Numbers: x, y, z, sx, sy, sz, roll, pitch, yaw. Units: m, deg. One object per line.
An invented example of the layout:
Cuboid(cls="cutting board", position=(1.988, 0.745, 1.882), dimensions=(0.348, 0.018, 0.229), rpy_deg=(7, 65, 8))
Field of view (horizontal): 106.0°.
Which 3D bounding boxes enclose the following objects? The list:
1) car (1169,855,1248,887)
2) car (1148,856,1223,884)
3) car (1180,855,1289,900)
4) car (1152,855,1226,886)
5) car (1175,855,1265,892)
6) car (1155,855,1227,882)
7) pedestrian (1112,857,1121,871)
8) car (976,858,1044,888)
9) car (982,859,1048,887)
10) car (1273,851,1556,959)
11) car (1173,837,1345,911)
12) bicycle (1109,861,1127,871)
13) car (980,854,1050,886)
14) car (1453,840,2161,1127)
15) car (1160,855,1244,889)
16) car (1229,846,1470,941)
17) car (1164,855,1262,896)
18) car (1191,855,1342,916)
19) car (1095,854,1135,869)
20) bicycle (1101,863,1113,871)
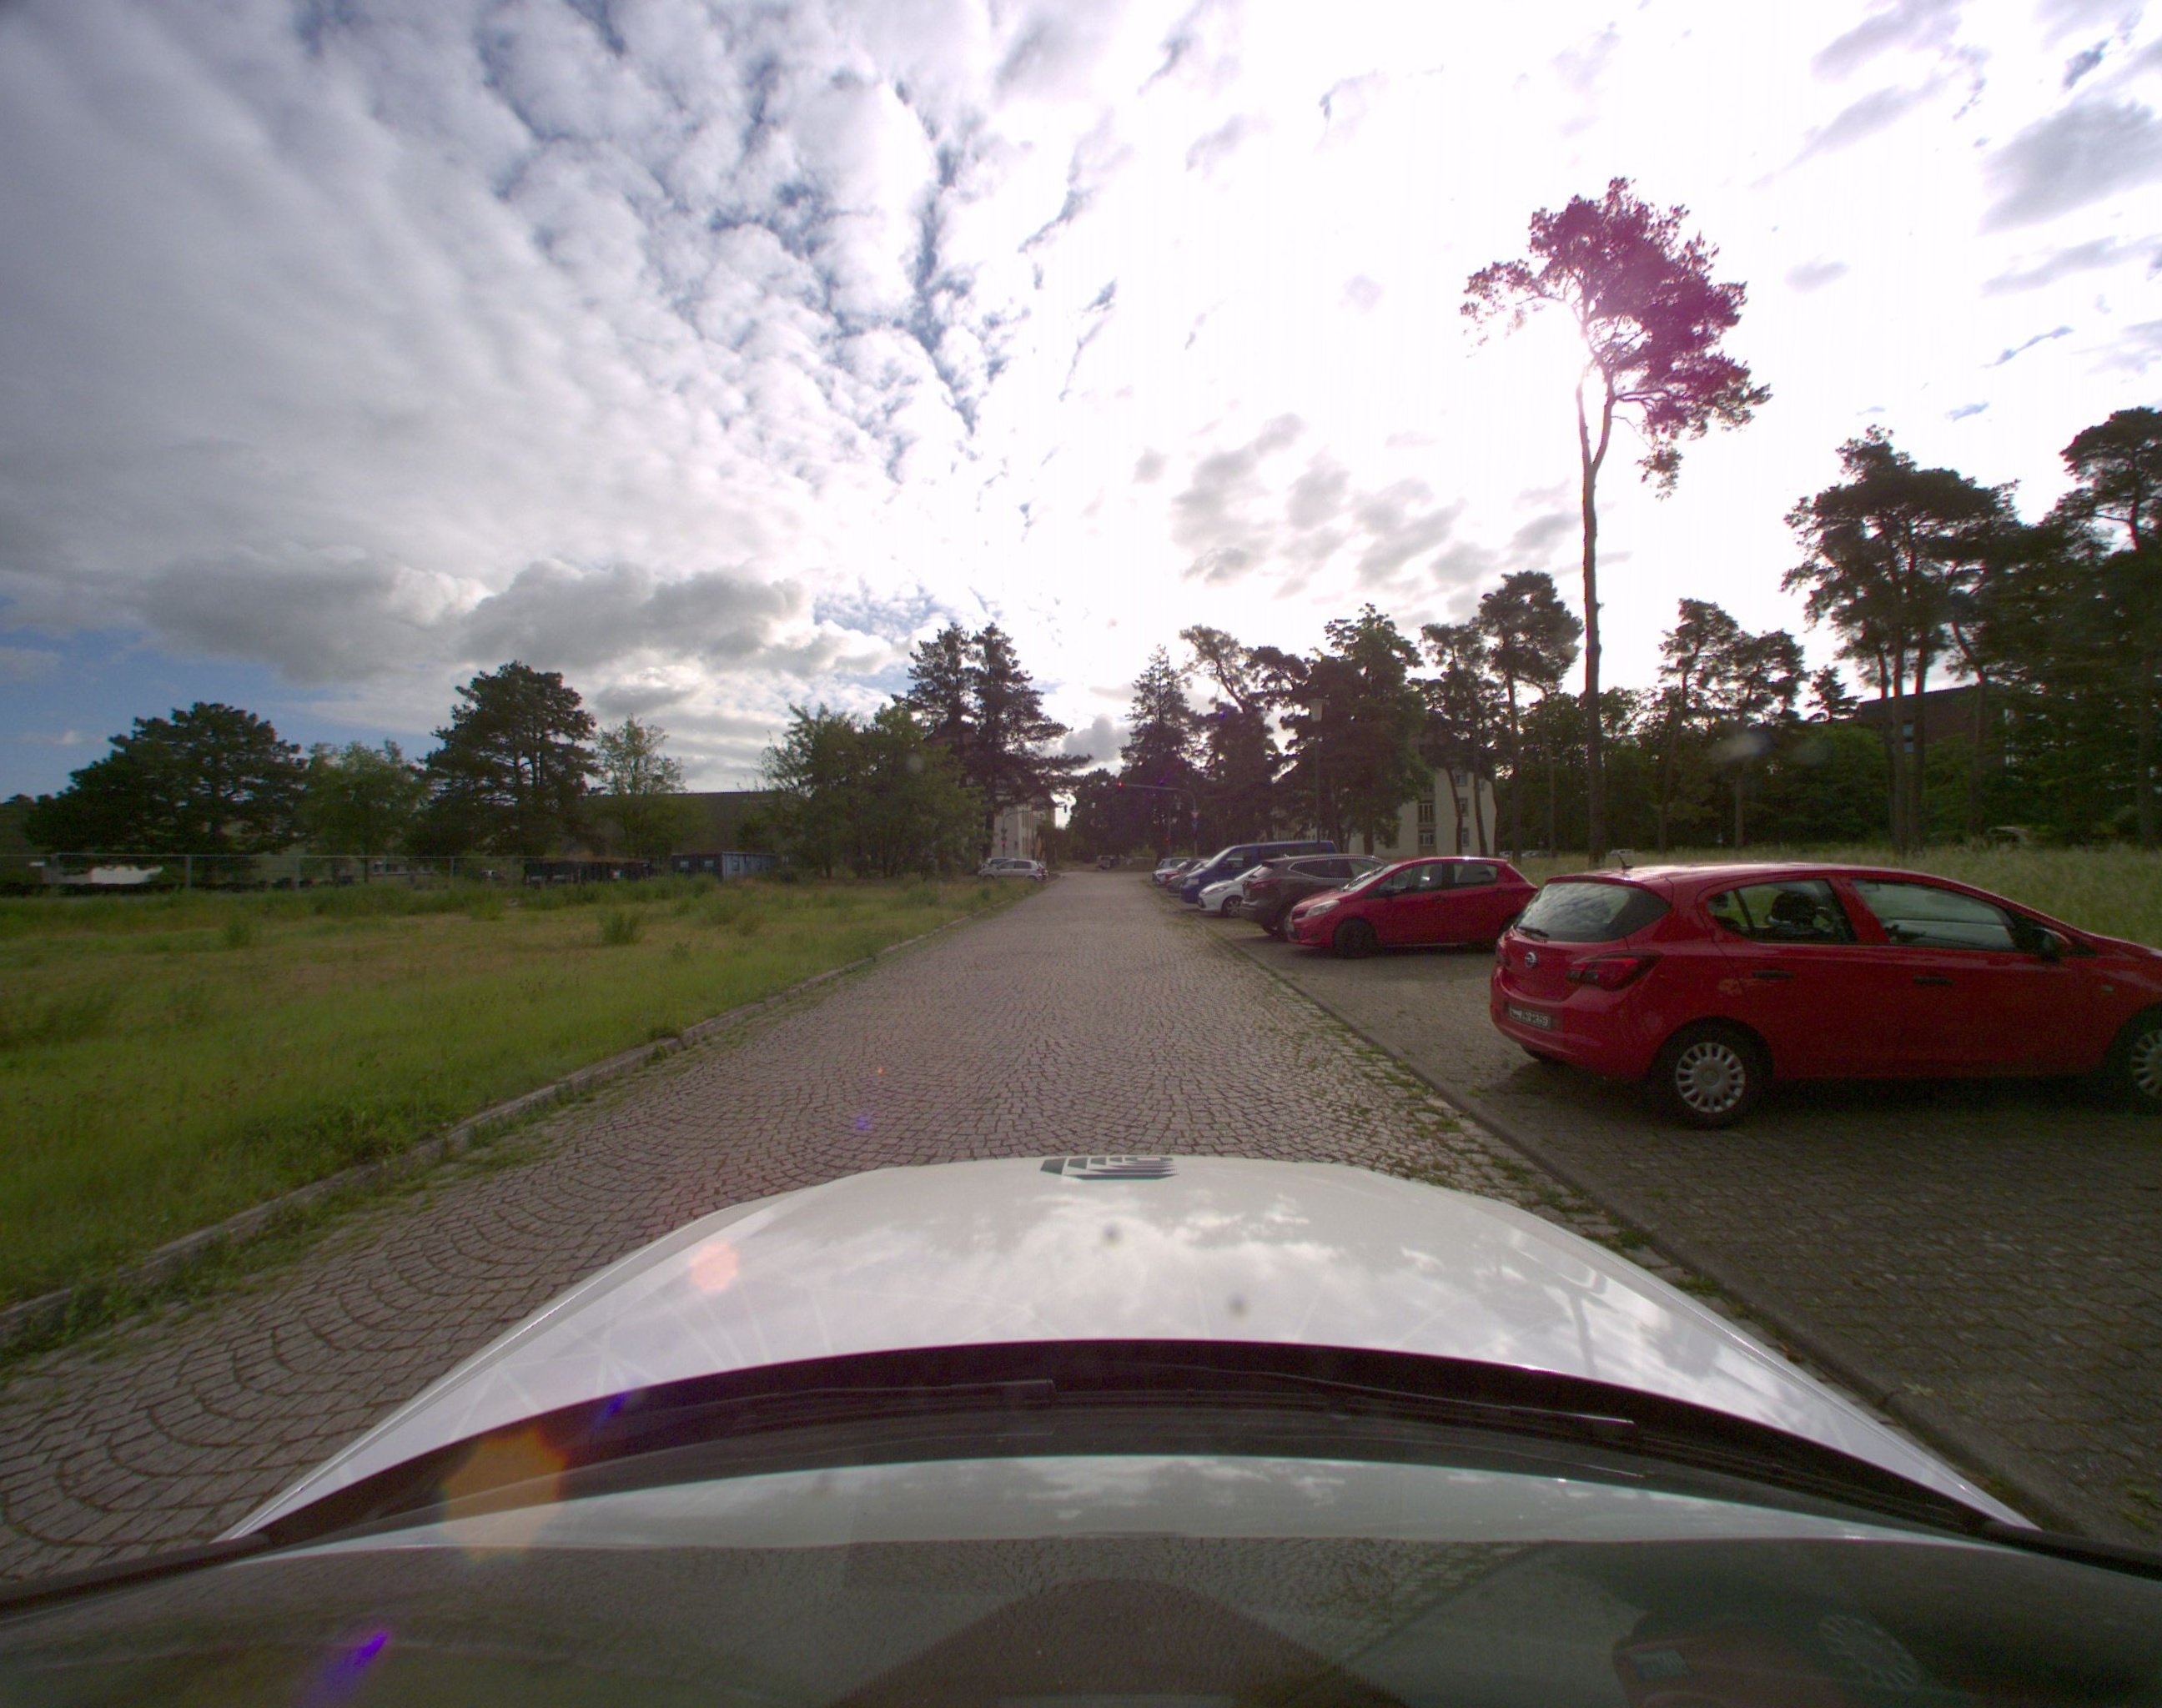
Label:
Cuboid(cls="car", position=(6.331, 0.843, 40.667), dimensions=(3.660, 1.449, 1.523), rpy_deg=(-2, -1, -1))
Cuboid(cls="car", position=(5.844, 0.889, 45.788), dimensions=(3.958, 1.421, 1.618), rpy_deg=(-2, -1, -3))
Cuboid(cls="car", position=(5.595, 0.851, 29.918), dimensions=(3.660, 1.449, 1.523), rpy_deg=(-2, -1, -1))
Cuboid(cls="car", position=(5.665, 0.869, 42.935), dimensions=(3.663, 1.421, 1.522), rpy_deg=(-2, -1, -3))
Cuboid(cls="car", position=(6.059, 0.832, 35.679), dimensions=(3.660, 1.449, 1.523), rpy_deg=(-2, -1, -1))
Cuboid(cls="car", position=(6.499, 0.876, 48.426), dimensions=(3.958, 1.421, 1.618), rpy_deg=(-2, -1, -3))
Cuboid(cls="pedestrian", position=(4.232, 1.198, 97.775), dimensions=(1.031, 1.614, 0.756), rpy_deg=(0, -1, -3))
Cuboid(cls="car", position=(-4.129, 1.112, 47.584), dimensions=(3.811, 1.572, 1.563), rpy_deg=(-2, -1, -2))
Cuboid(cls="car", position=(-4.007, 1.164, 49.999), dimensions=(3.808, 1.572, 1.564), rpy_deg=(-2, -1, 1))
Cuboid(cls="car", position=(5.165, 0.767, 13.019), dimensions=(3.778, 1.460, 1.751), rpy_deg=(-2, -1, 1))
Cuboid(cls="car", position=(5.282, 0.596, 24.645), dimensions=(4.739, 1.954, 1.931), rpy_deg=(-2, -1, -1))
Cuboid(cls="bicycle", position=(4.422, 1.400, 97.425), dimensions=(2.132, 1.215, 0.621), rpy_deg=(0, -1, -3))
Cuboid(cls="car", position=(-4.261, 1.027, 52.995), dimensions=(4.247, 1.840, 1.744), rpy_deg=(-2, -1, 1))
Cuboid(cls="car", position=(4.810, 0.723, 5.432), dimensions=(3.812, 1.460, 1.779), rpy_deg=(-2, -1, 1))
Cuboid(cls="car", position=(5.669, 0.835, 38.395), dimensions=(3.660, 1.449, 1.523), rpy_deg=(-2, -1, -1))
Cuboid(cls="car", position=(5.050, 0.727, 15.674), dimensions=(4.017, 1.552, 1.750), rpy_deg=(-2, -1, -1))
Cuboid(cls="car", position=(5.264, 0.843, 32.706), dimensions=(3.660, 1.449, 1.523), rpy_deg=(-2, -1, -1))
Cuboid(cls="car", position=(4.958, 0.837, 22.055), dimensions=(3.661, 1.449, 1.614), rpy_deg=(-2, -1, -1))
Cuboid(cls="car", position=(4.772, 1.097, 115.342), dimensions=(5.441, 2.014, 2.263), rpy_deg=(0, -1, -8))
Cuboid(cls="bicycle", position=(2.989, 1.480, 93.384), dimensions=(0.623, 0.945, 1.649), rpy_deg=(0, -1, -26))
